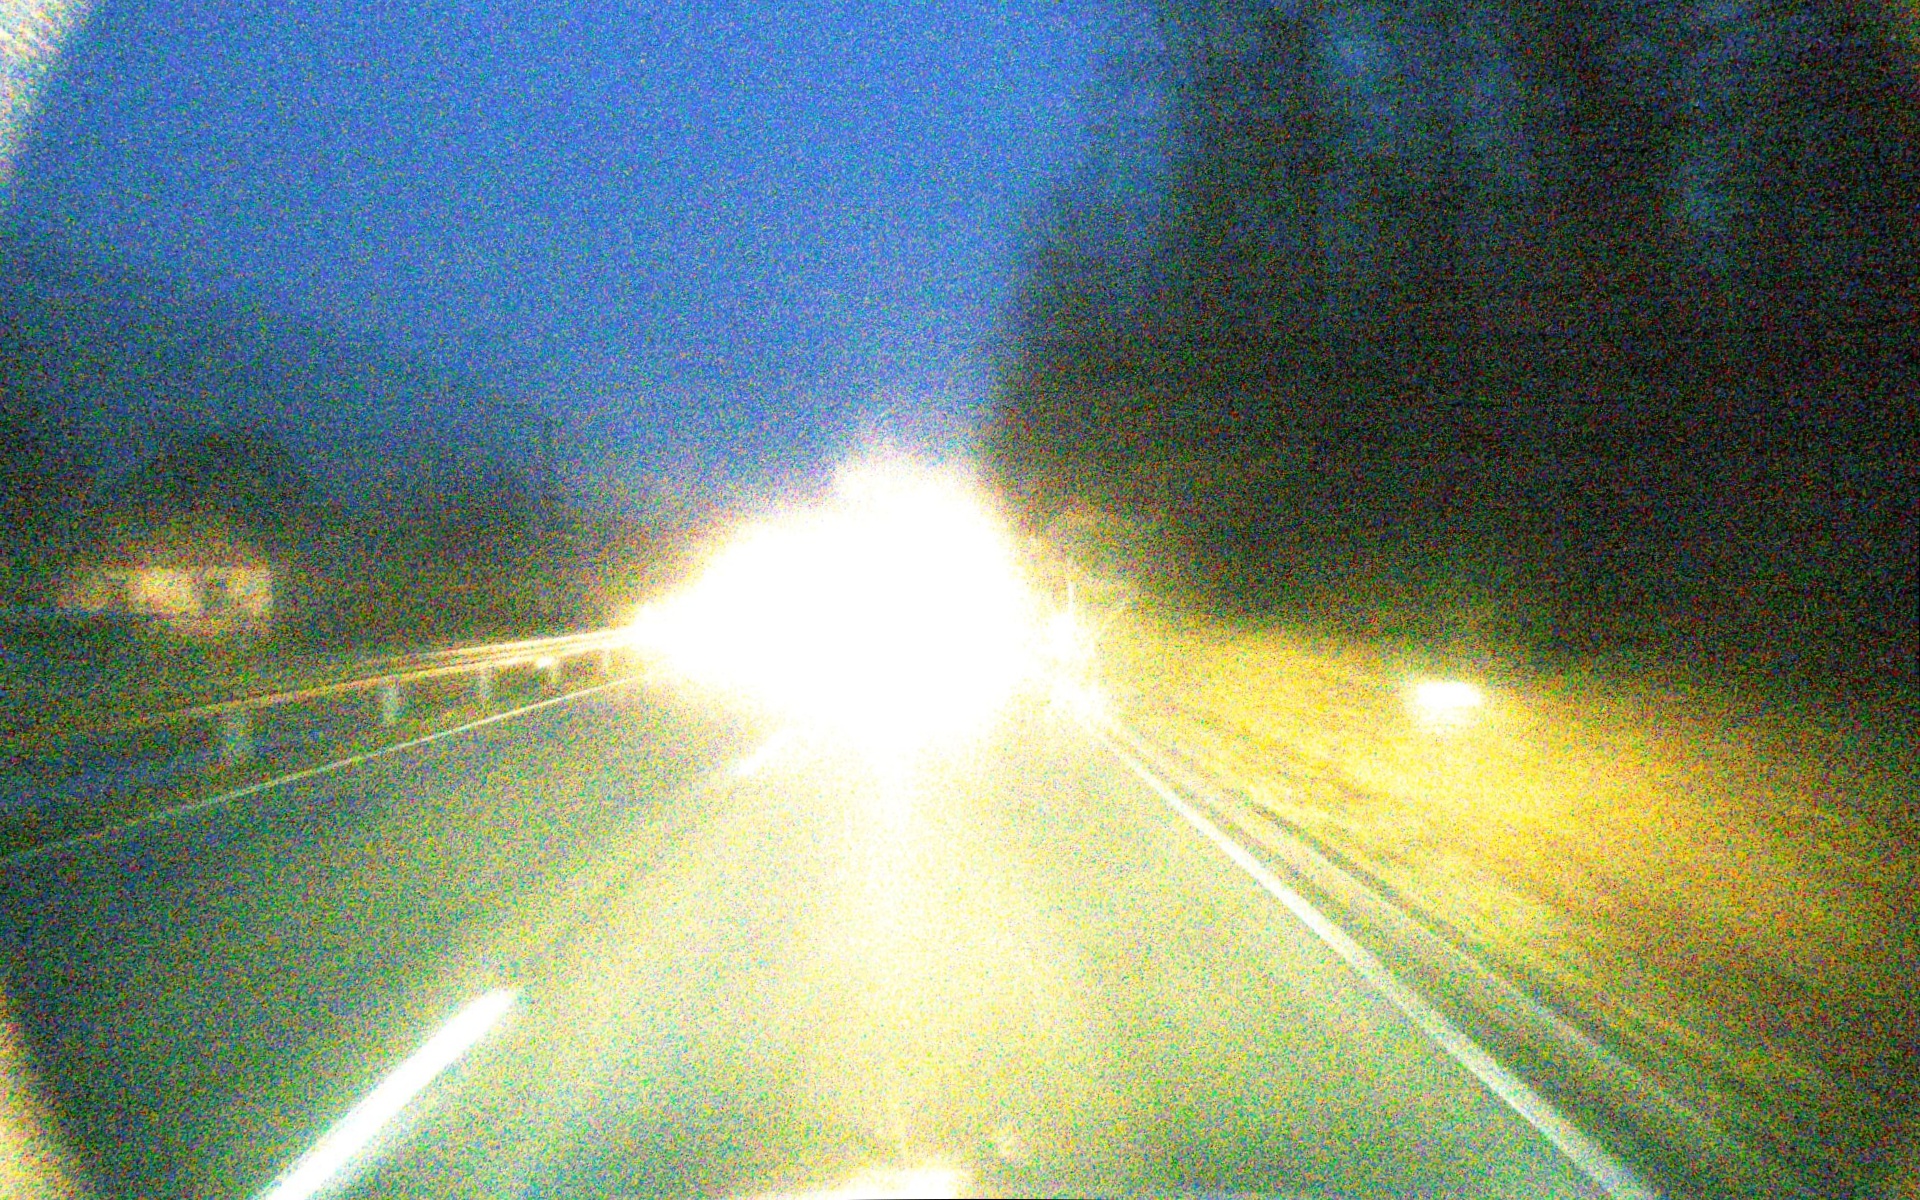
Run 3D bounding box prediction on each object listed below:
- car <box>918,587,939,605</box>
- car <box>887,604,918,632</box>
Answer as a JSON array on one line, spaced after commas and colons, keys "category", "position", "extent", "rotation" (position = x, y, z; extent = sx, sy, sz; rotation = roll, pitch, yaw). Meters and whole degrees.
[{"category": "car", "position": [-3.032, -0.418, 158.801], "extent": [1.953, 1.695, 3.999], "rotation": [0, 0, -1]}, {"category": "car", "position": [-3.969, 1.251, 114.755], "extent": [1.953, 1.856, 4.562], "rotation": [2, 0, -1]}]
